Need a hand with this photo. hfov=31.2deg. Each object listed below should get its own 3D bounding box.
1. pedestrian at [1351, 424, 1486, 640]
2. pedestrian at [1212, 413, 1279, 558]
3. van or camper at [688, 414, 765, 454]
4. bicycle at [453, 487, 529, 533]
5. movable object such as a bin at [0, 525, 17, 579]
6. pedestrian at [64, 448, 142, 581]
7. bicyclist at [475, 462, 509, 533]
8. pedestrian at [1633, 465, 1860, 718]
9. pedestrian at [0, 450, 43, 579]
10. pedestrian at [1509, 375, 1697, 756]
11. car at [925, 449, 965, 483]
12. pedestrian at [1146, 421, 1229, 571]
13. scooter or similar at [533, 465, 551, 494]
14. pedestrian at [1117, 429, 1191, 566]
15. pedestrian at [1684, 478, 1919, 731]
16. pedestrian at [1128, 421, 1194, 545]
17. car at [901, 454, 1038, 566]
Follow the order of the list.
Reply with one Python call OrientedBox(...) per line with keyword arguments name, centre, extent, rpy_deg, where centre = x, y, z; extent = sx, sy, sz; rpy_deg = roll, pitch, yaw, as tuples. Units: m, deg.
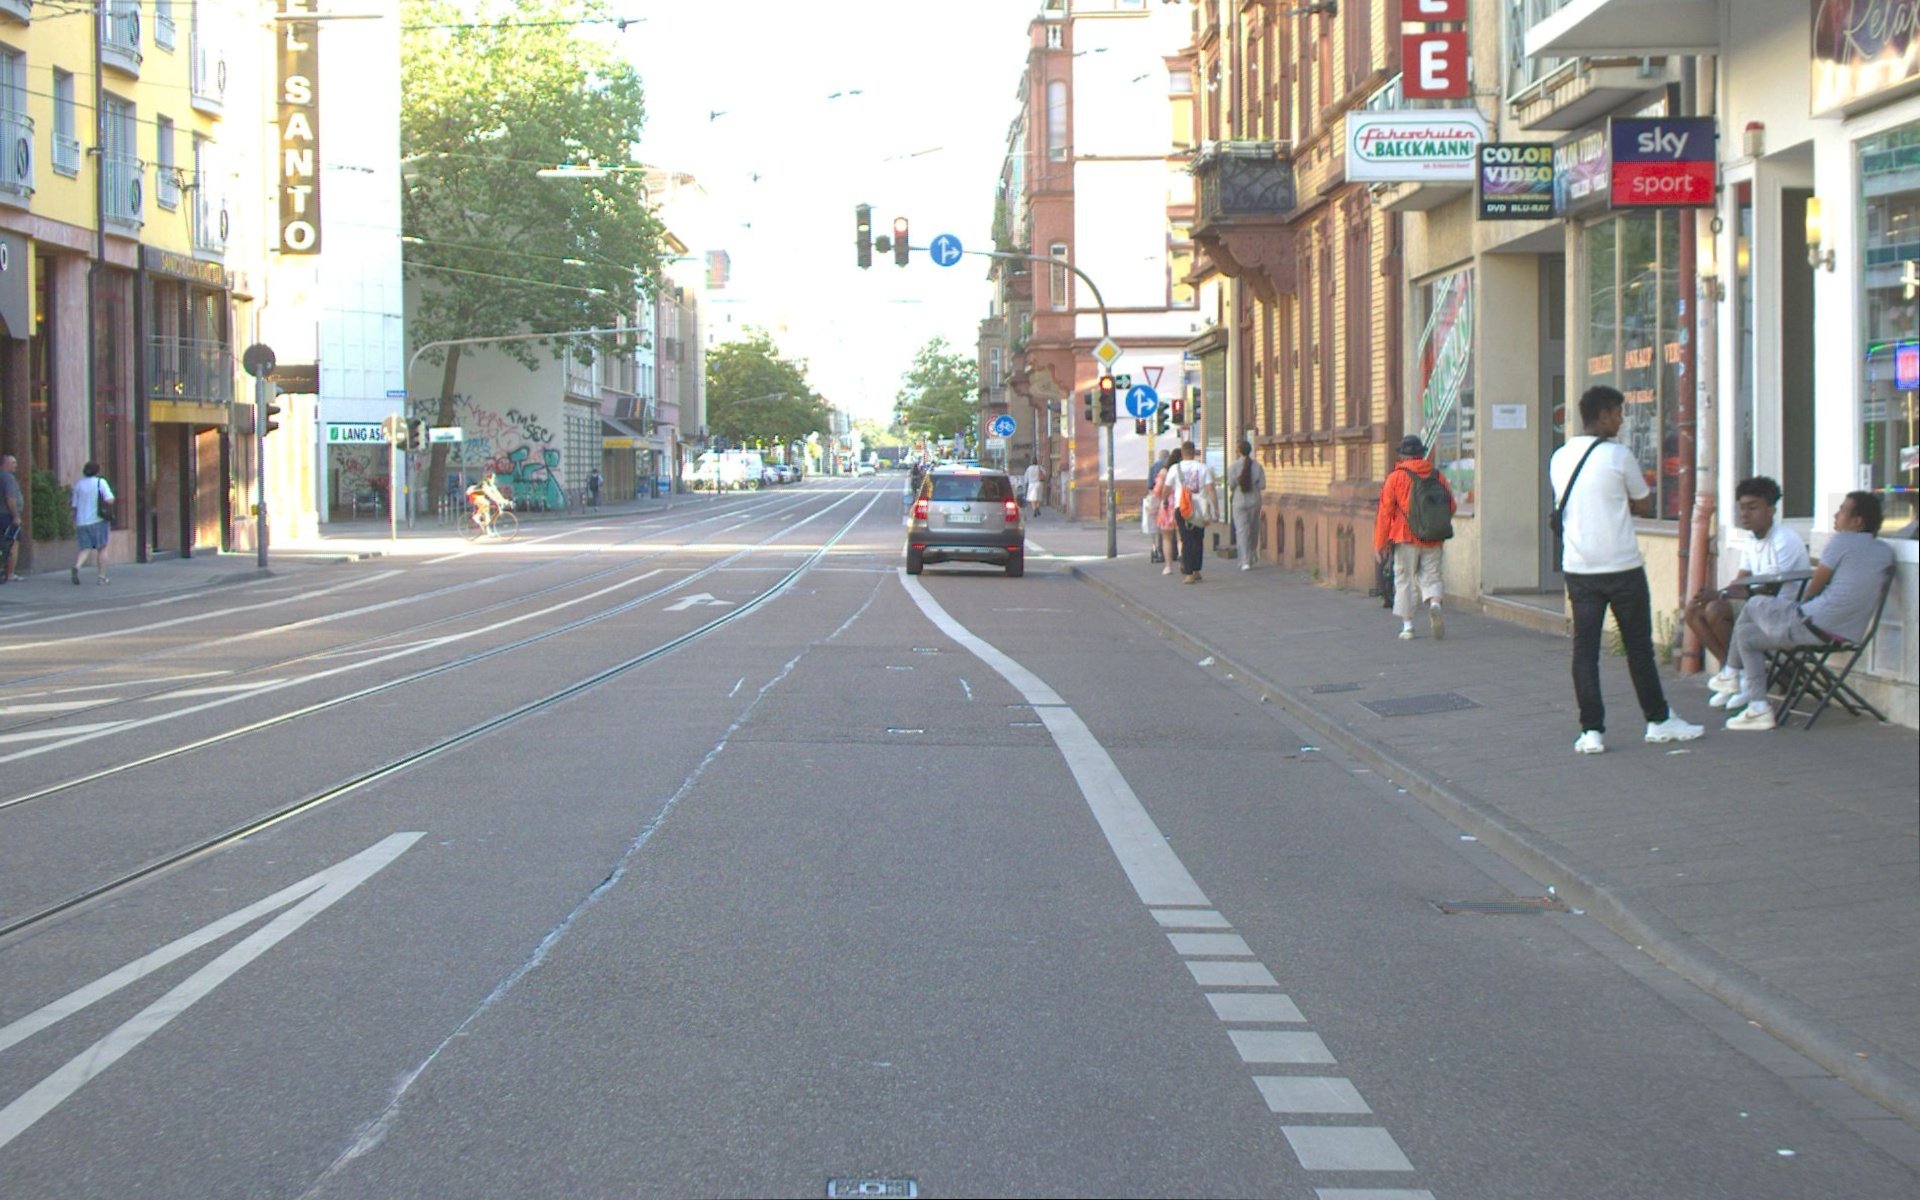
OrientedBox(name="pedestrian", centre=(3.651, -0.555, 27.422), extent=(0.798, 1.622, 0.826), rpy_deg=(-6, 3, 0))
OrientedBox(name="pedestrian", centre=(3.855, -1.553, 46.433), extent=(0.690, 1.902, 0.670), rpy_deg=(-5, 3, -2))
OrientedBox(name="van or camper", centre=(-15.255, -10.850, 224.833), extent=(4.635, 2.554, 2.000), rpy_deg=(-1, 2, -31))
OrientedBox(name="bicycle", centre=(-10.892, -2.094, 79.928), extent=(1.714, 1.031, 0.599), rpy_deg=(1, 1, -6))
OrientedBox(name="movable object such as a bin", centre=(-13.436, -0.675, 47.793), extent=(0.383, 0.714, 0.841), rpy_deg=(4, 3, 0))
OrientedBox(name="pedestrian", centre=(-12.205, -1.225, 48.956), extent=(0.751, 1.812, 1.046), rpy_deg=(4, 3, -1))
OrientedBox(name="bicyclist", centre=(-10.889, -2.376, 79.985), extent=(0.739, 1.628, 0.608), rpy_deg=(1, 1, -8))
OrientedBox(name="pedestrian", centre=(4.227, -0.045, 18.489), extent=(0.828, 1.251, 0.707), rpy_deg=(-8, 3, -35))
OrientedBox(name="pedestrian", centre=(-13.507, -1.223, 48.590), extent=(0.797, 1.765, 0.749), rpy_deg=(4, 3, -1))
OrientedBox(name="pedestrian", centre=(3.228, -0.184, 17.227), extent=(0.705, 1.805, 0.679), rpy_deg=(-5, 3, 15))
OrientedBox(name="car", centre=(-0.745, -6.832, 175.520), extent=(1.950, 1.678, 4.001), rpy_deg=(0, 2, 1))
OrientedBox(name="pedestrian", centre=(2.856, -1.318, 43.200), extent=(0.805, 1.793, 1.092), rpy_deg=(-5, 3, -2))
OrientedBox(name="scooter or similar", centre=(-15.395, -4.457, 126.686), extent=(0.516, 1.053, 1.479), rpy_deg=(0, 2, -3))
OrientedBox(name="pedestrian", centre=(2.636, -1.398, 46.853), extent=(0.805, 1.793, 0.762), rpy_deg=(-5, 3, -2))
OrientedBox(name="pedestrian", centre=(4.300, 0.015, 17.417), extent=(0.704, 1.170, 1.016), rpy_deg=(-7, 3, -19))
OrientedBox(name="pedestrian", centre=(3.039, -1.776, 52.028), extent=(0.805, 1.793, 0.762), rpy_deg=(-4, 3, 0))
OrientedBox(name="car", centre=(0.104, -1.422, 53.008), extent=(1.993, 1.612, 4.001), rpy_deg=(1, 2, -1))
